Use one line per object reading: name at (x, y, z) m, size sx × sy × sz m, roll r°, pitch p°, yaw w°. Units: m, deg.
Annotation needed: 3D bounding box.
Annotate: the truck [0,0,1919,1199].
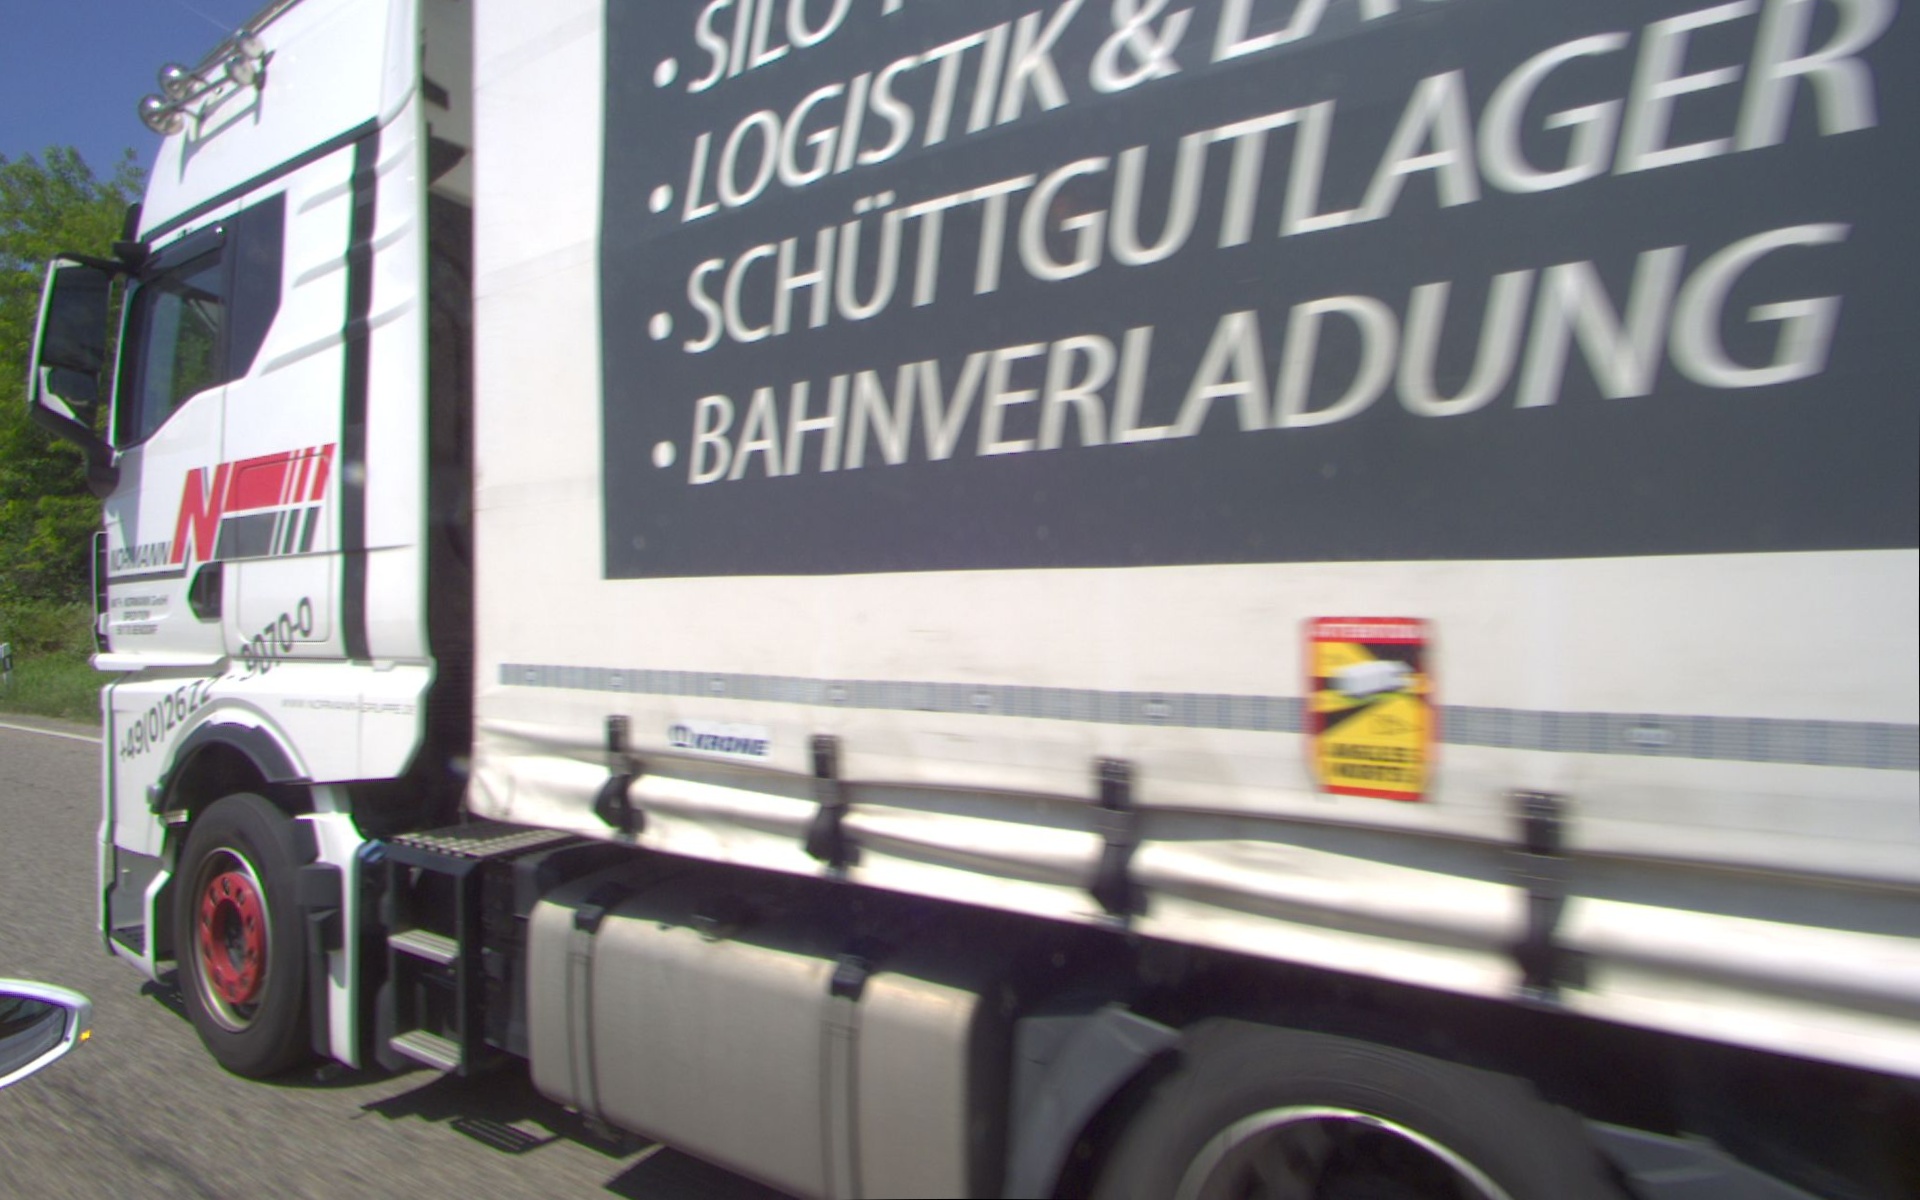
truck at (3.743, -0.741, 0.552) m, size 17.380 × 4.146 × 2.969 m, roll -1°, pitch -2°, yaw 32°
